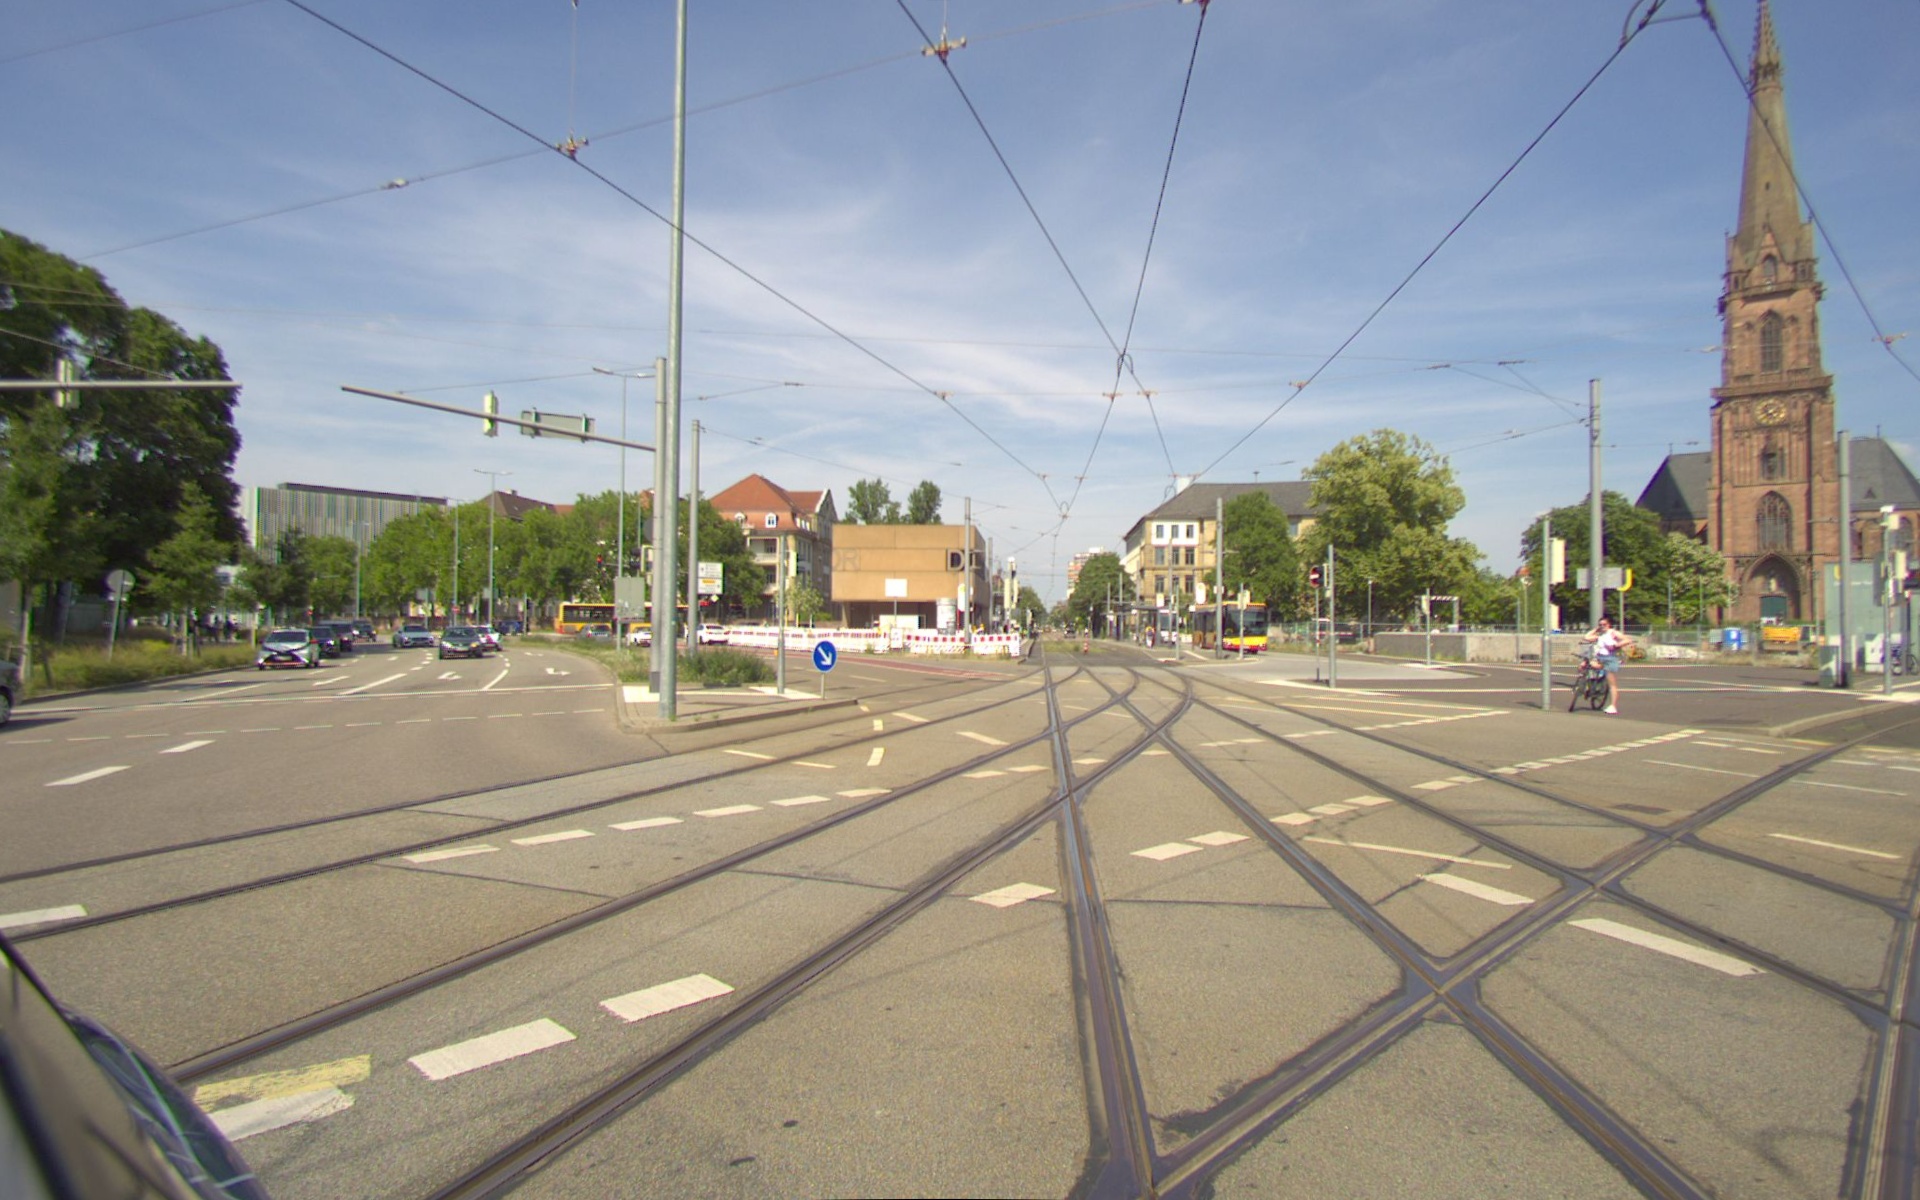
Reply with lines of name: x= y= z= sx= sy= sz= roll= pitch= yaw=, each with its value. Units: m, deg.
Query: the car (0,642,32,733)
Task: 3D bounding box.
car: x=-15.742 y=1.398 z=14.725 sx=1.608 sy=1.446 sz=4.543 roll=0 pitch=-1 yaw=-19

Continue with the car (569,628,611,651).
car: x=-23.157 y=2.431 z=63.242 sx=1.572 sy=1.296 sz=4.011 roll=-1 pitch=0 yaw=-33

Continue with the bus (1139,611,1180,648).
bus: x=19.360 y=2.892 z=98.995 sx=2.724 sy=3.348 sz=11.768 roll=0 pitch=-2 yaw=5

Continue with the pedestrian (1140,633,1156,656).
pedestrian: x=11.757 y=2.801 z=63.414 sx=0.530 sy=1.377 sz=0.915 roll=-1 pitch=-1 yaw=-22

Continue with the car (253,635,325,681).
car: x=-24.872 y=2.104 z=37.610 sx=1.653 sy=1.486 sz=3.772 roll=-1 pitch=0 yaw=-25

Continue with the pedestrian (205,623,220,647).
pedestrian: x=-46.509 y=2.177 z=62.964 sx=0.634 sy=1.457 sz=0.570 roll=3 pitch=-2 yaw=-43

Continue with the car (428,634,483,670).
car: x=-22.702 y=2.301 z=45.469 sx=1.624 sy=1.435 sz=4.131 roll=-1 pitch=0 yaw=-34

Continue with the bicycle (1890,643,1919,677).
bicycle: x=32.715 y=2.044 z=34.746 sx=1.635 sy=1.079 sz=0.415 roll=-1 pitch=-2 yaw=-20

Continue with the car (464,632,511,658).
car: x=-25.633 y=2.416 z=54.830 sx=1.467 sy=1.303 sz=3.492 roll=-1 pitch=-1 yaw=-39

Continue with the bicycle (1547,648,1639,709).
bicycle: x=11.971 y=1.480 z=19.119 sx=1.817 sy=1.092 sz=0.753 roll=3 pitch=-3 yaw=-32

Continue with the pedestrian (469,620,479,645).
pedestrian: x=-32.714 y=2.207 z=68.090 sx=0.532 sy=1.686 sz=0.754 roll=1 pitch=-2 yaw=-22

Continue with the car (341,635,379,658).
car: x=-48.132 y=3.705 z=81.147 sx=1.934 sy=1.807 sz=4.006 roll=2 pitch=-2 yaw=-41

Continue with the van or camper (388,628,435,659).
van or camper: x=-35.279 y=2.741 z=65.032 sx=1.890 sy=1.902 sz=4.932 roll=1 pitch=-2 yaw=-38

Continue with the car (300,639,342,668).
car: x=-30.457 y=2.505 z=48.293 sx=1.385 sy=1.305 sz=3.592 roll=1 pitch=-2 yaw=-28

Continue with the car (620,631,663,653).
car: x=-20.161 y=2.629 z=64.063 sx=1.572 sy=1.296 sz=4.011 roll=-1 pitch=0 yaw=-33

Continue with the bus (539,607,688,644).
bus: x=-30.098 y=2.267 z=88.239 sx=11.940 sy=3.062 sz=2.805 roll=1 pitch=-2 yaw=-31

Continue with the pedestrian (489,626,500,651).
pedestrian: x=-31.929 y=2.624 z=69.385 sx=0.632 sy=1.686 sz=0.754 roll=1 pitch=-2 yaw=-22

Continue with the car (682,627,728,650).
car: x=-17.098 y=2.567 z=67.765 sx=1.773 sy=1.431 sz=4.011 roll=-1 pitch=0 yaw=-33

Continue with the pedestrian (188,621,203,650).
pedestrian: x=-47.119 y=2.176 z=62.362 sx=0.634 sy=1.777 sz=0.475 roll=3 pitch=-2 yaw=-43

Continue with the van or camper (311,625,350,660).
van or camper: x=-36.593 y=2.435 z=58.751 sx=1.701 sy=1.902 sz=4.935 roll=-1 pitch=-1 yaw=-34

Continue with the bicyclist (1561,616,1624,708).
bicyclist: x=11.958 y=1.167 z=19.130 sx=0.763 sy=1.697 sz=0.753 roll=3 pitch=-3 yaw=-32

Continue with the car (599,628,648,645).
car: x=-31.400 y=3.368 z=94.428 sx=4.044 sy=1.454 sz=1.764 roll=-1 pitch=0 yaw=-32

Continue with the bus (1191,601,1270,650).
bus: x=16.578 y=1.485 z=62.949 sx=2.724 sy=2.703 sz=11.769 roll=-2 pitch=0 yaw=5

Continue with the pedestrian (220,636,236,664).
pedestrian: x=-45.824 y=3.112 z=63.363 sx=0.632 sy=1.686 sz=0.755 roll=2 pitch=-2 yaw=-24
